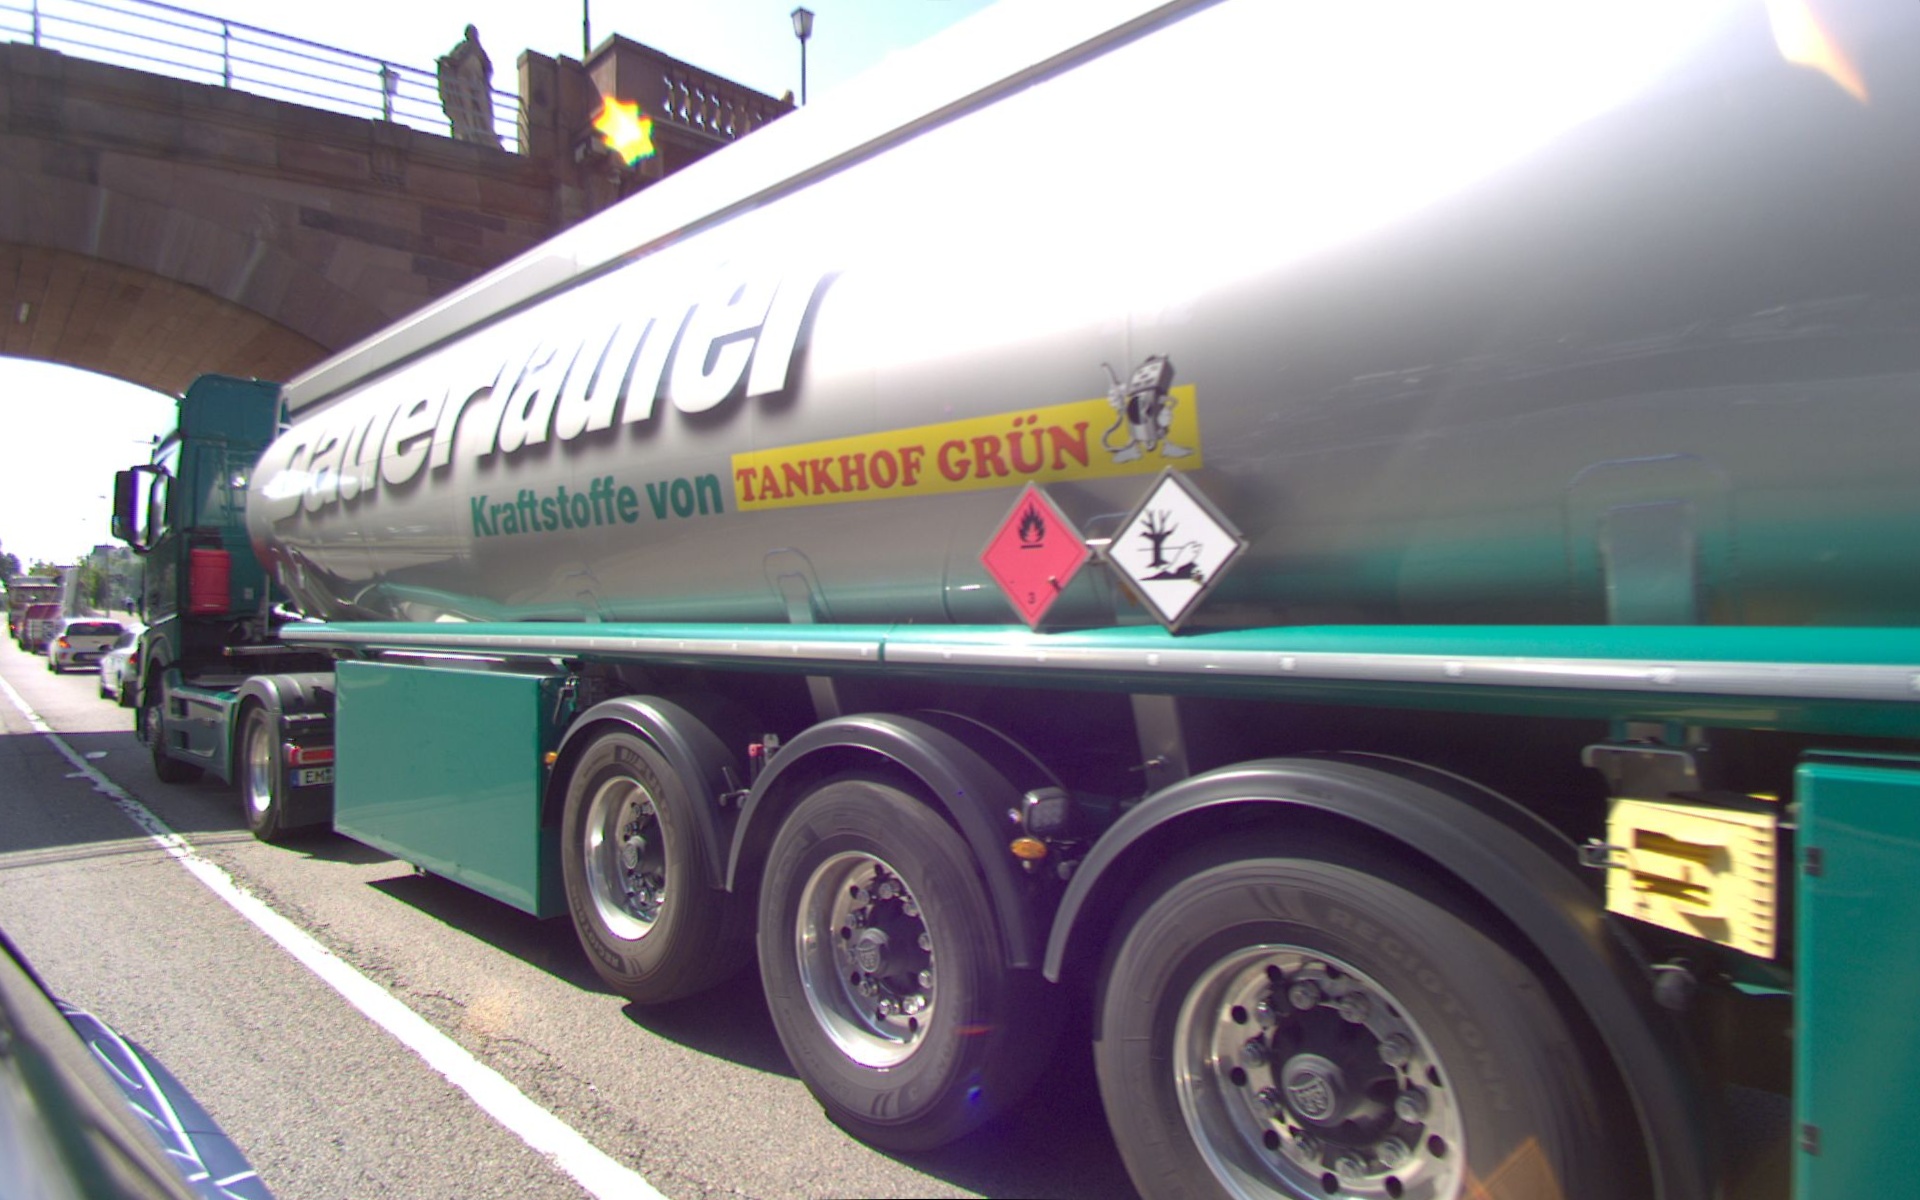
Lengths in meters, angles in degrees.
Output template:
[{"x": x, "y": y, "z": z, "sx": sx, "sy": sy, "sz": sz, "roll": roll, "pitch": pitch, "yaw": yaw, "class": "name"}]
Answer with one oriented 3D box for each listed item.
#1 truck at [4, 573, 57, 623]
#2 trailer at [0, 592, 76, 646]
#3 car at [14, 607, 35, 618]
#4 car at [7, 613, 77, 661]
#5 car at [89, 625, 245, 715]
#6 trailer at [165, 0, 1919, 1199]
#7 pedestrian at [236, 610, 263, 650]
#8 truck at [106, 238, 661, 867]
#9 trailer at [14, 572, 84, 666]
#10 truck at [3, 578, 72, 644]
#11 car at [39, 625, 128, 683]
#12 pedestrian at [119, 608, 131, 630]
[{"x": -69.720, "y": -0.129, "z": 76.039, "sx": 2.610, "sy": 3.503, "sz": 11.122, "roll": 1, "pitch": -1, "yaw": -41, "class": "truck"}, {"x": -46.512, "y": 0.906, "z": 51.044, "sx": 2.665, "sy": 2.550, "sz": 6.955, "roll": 2, "pitch": -1, "yaw": -43, "class": "trailer"}, {"x": -131.855, "y": 1.715, "z": 142.588, "sx": 4.263, "sy": 1.463, "sz": 1.971, "roll": 0, "pitch": 1, "yaw": 45, "class": "car"}, {"x": -37.439, "y": 1.467, "z": 41.257, "sx": 4.546, "sy": 1.841, "sz": 1.853, "roll": -1, "pitch": -2, "yaw": 45, "class": "car"}, {"x": -14.866, "y": 1.217, "z": 18.886, "sx": 4.402, "sy": 1.447, "sz": 1.703, "roll": -1, "pitch": -2, "yaw": 44, "class": "car"}, {"x": -1.439, "y": -0.281, "z": 5.495, "sx": 11.526, "sy": 3.672, "sz": 2.497, "roll": -2, "pitch": -2, "yaw": 42, "class": "trailer"}, {"x": -31.041, "y": 1.283, "z": 44.205, "sx": 1.152, "sy": 1.714, "sz": 0.807, "roll": 0, "pitch": 0, "yaw": 45, "class": "pedestrian"}, {"x": -5.489, "y": -0.185, "z": 9.105, "sx": 6.245, "sy": 3.777, "sz": 2.496, "roll": -2, "pitch": -3, "yaw": 42, "class": "truck"}, {"x": -34.205, "y": 0.716, "z": 37.976, "sx": 1.721, "sy": 3.345, "sz": 3.386, "roll": 2, "pitch": -2, "yaw": -44, "class": "trailer"}, {"x": -52.402, "y": 0.592, "z": 57.484, "sx": 2.610, "sy": 3.483, "sz": 7.880, "roll": 2, "pitch": -1, "yaw": -43, "class": "truck"}, {"x": -24.298, "y": 1.444, "z": 28.020, "sx": 3.729, "sy": 1.447, "sz": 1.517, "roll": -1, "pitch": -2, "yaw": 44, "class": "car"}, {"x": -67.390, "y": 1.517, "z": 81.643, "sx": 0.703, "sy": 1.719, "sz": 0.846, "roll": -1, "pitch": -1, "yaw": -41, "class": "pedestrian"}]
